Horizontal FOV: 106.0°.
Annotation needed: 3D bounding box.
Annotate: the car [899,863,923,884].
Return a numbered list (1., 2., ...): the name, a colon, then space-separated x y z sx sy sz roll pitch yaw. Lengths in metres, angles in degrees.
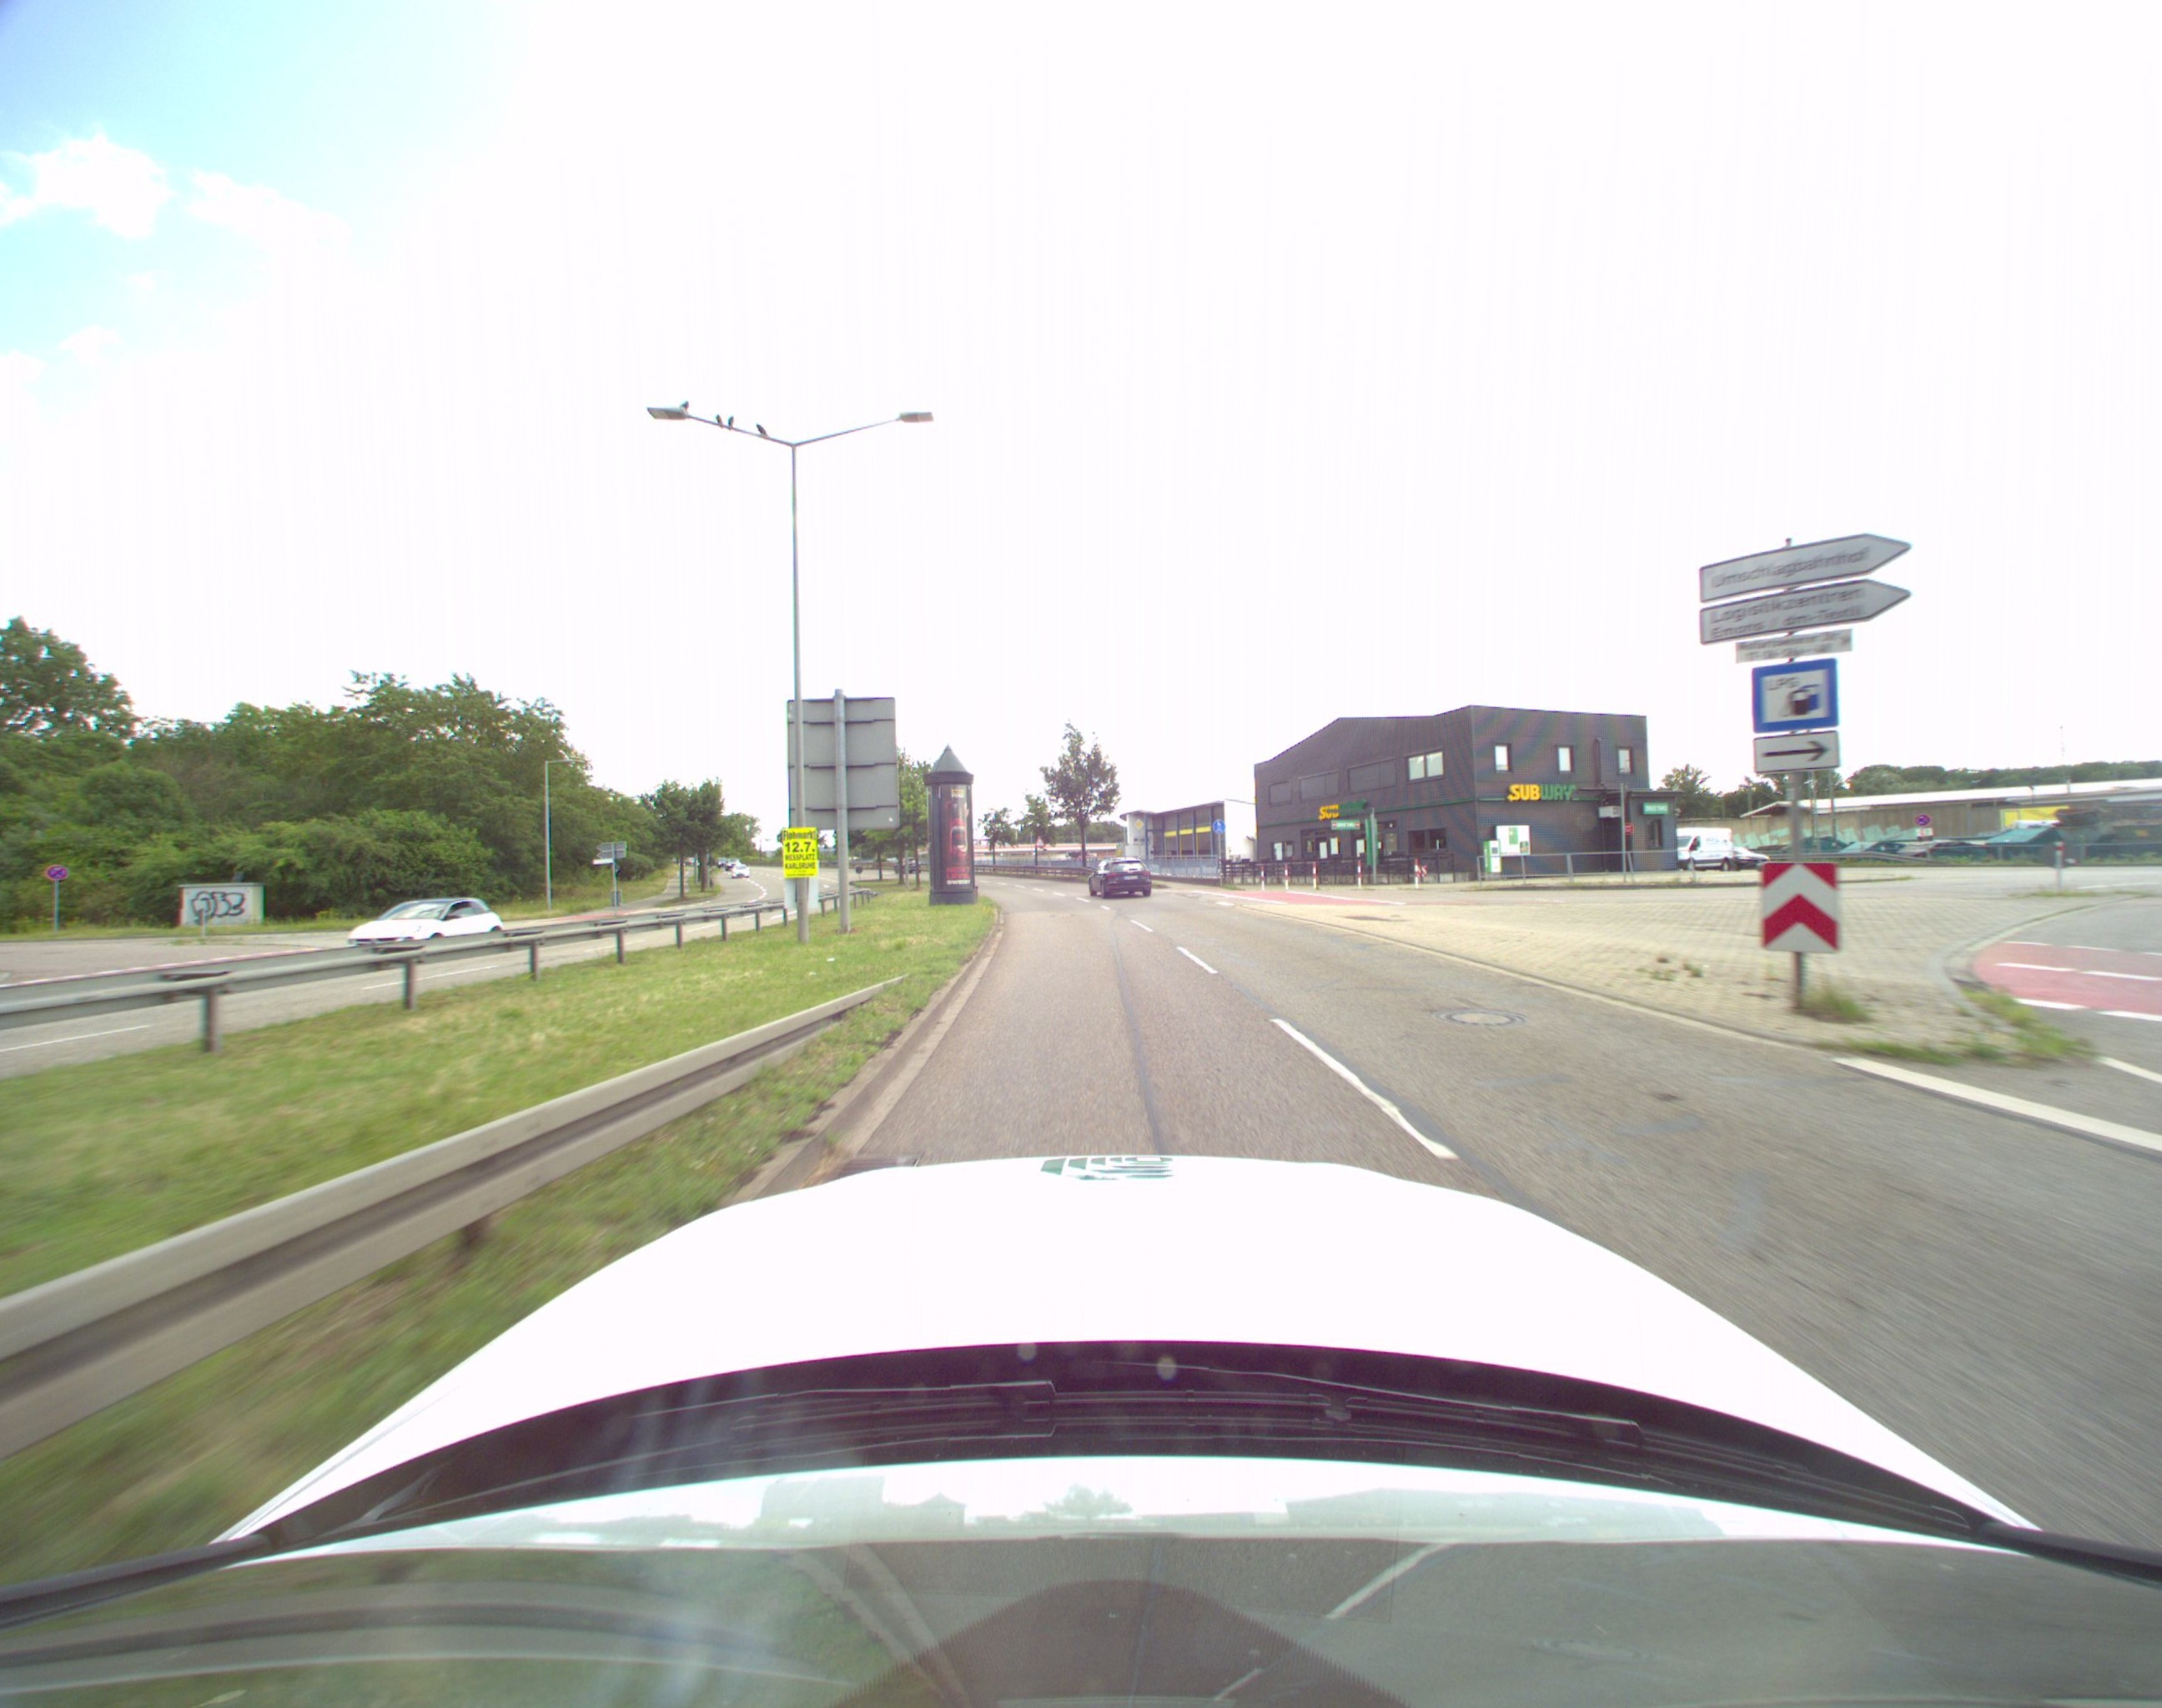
1. car: -18.040 2.095 86.391 1.999 2.037 4.684 -2 -2 -17

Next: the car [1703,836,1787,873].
1. car: 38.865 0.055 47.763 1.742 2.014 3.882 -2 -1 1

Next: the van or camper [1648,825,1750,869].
1. van or camper: 33.519 -0.321 44.132 6.266 2.173 2.105 0 -2 -30

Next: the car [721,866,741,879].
1. car: -51.279 2.705 119.317 2.007 1.861 4.667 -2 -1 -32

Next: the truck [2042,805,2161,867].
1. truck: 47.986 -0.805 37.705 4.309 2.714 2.118 -1 -2 1

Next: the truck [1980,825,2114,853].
1. truck: 47.333 -0.721 39.953 4.310 1.220 1.880 -1 -2 0

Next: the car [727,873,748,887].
1. car: -39.620 3.003 94.016 2.001 1.532 4.301 -4 -1 -20

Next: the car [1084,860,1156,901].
1. car: 1.391 0.962 30.854 1.991 1.390 4.564 -1 -1 -7

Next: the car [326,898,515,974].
1. car: -16.726 2.011 20.906 1.749 1.511 3.993 -2 -1 -4

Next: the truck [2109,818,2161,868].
1. truck: 47.805 -0.490 35.179 4.311 2.084 1.977 -1 -2 -1
